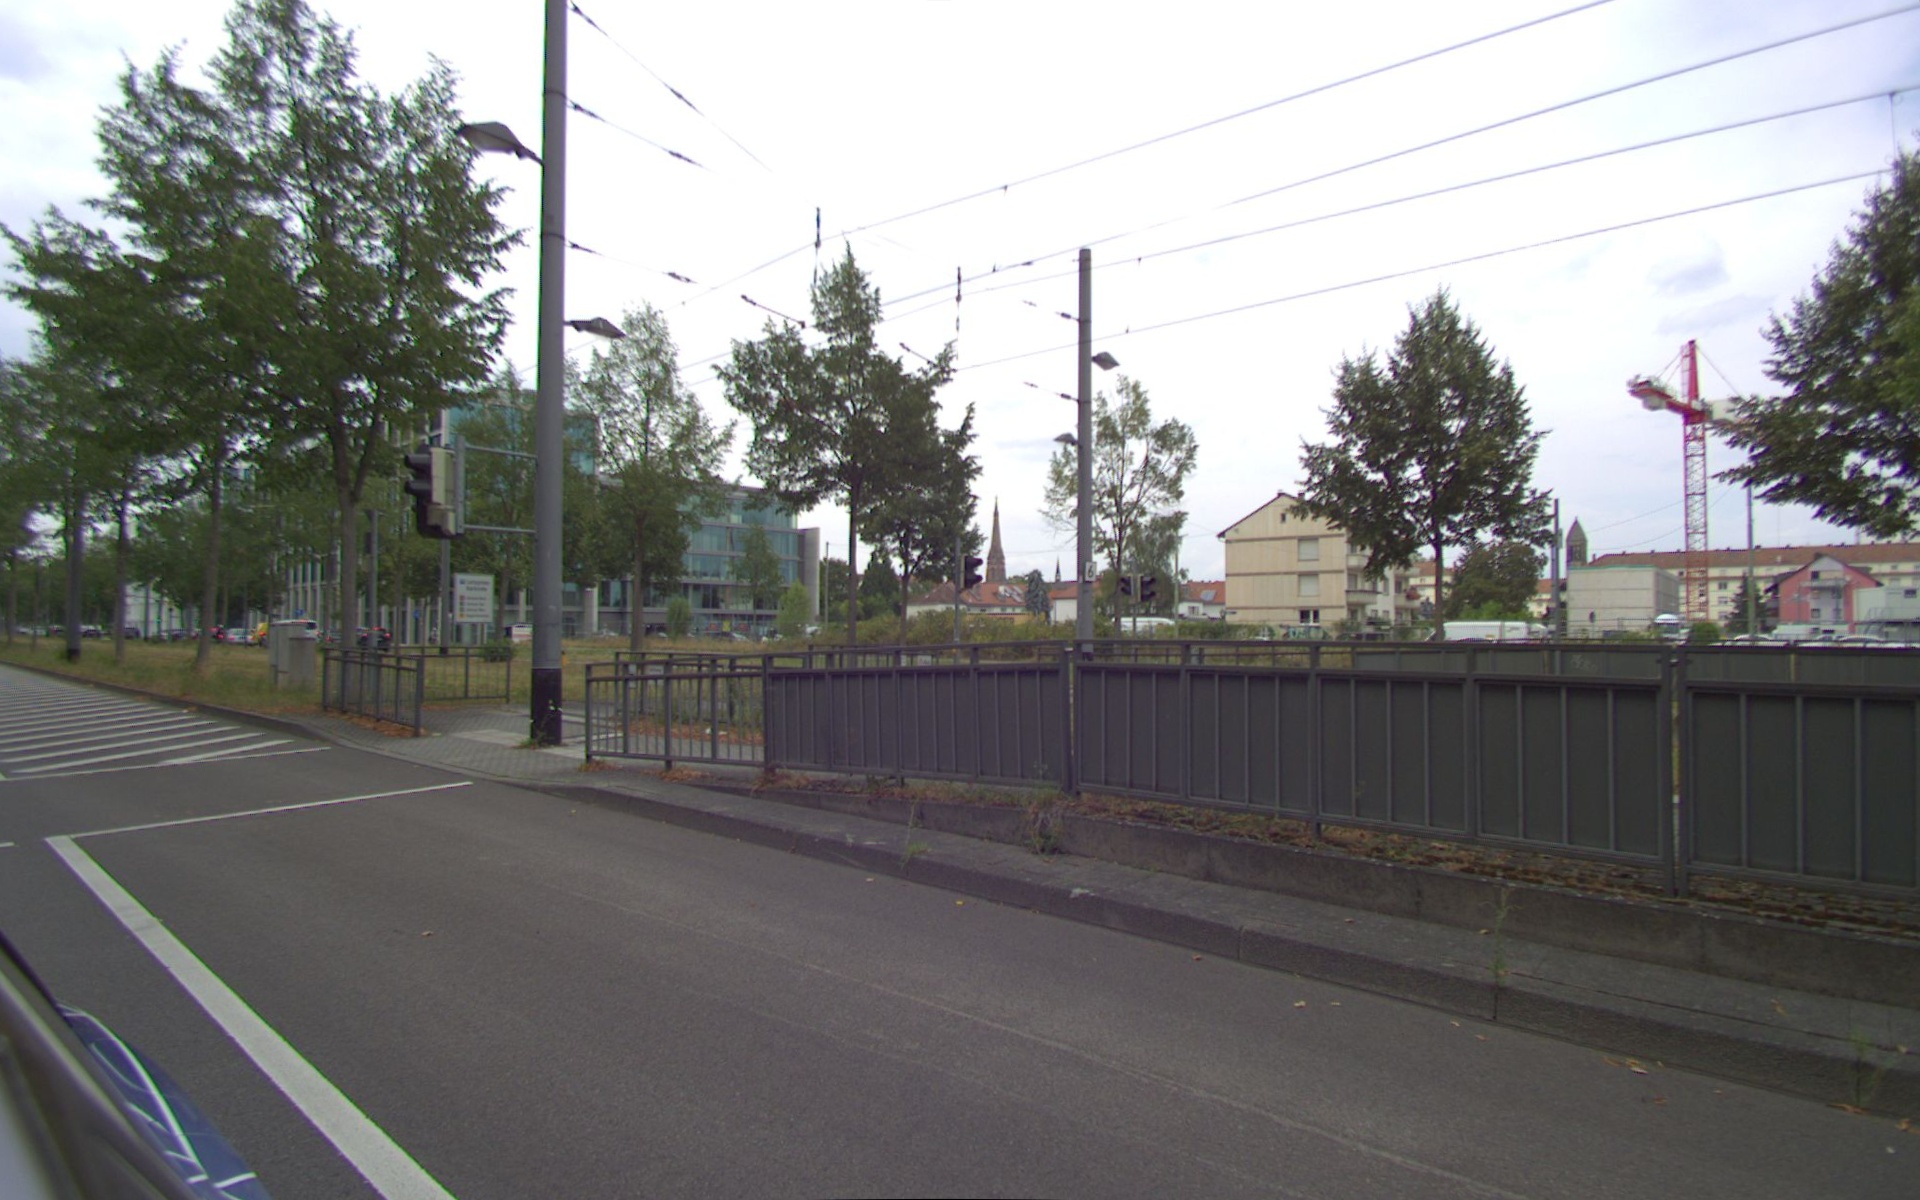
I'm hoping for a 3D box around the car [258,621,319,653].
[{"bbox_3d":[-42.825,2.351,64.499,5.094,1.959,1.972,-1,-2,42],"label":"car"}]

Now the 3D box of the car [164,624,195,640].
[{"bbox_3d":[-73.784,3.053,95.634,3.865,1.468,1.729,-1,-2,43],"label":"car"}]

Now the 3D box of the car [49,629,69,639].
[{"bbox_3d":[-127.968,4.804,143.702,3.865,1.468,1.729,-1,-2,43],"label":"car"}]

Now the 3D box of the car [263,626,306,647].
[{"bbox_3d":[-50.004,2.719,74.870,3.864,1.508,1.730,-2,-2,42],"label":"car"}]

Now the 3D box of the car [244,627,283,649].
[{"bbox_3d":[-58.103,3.181,84.427,1.929,1.785,4.447,1,-2,-44],"label":"car"}]

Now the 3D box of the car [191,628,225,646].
[{"bbox_3d":[-63.249,3.114,85.119,3.866,1.468,1.729,-1,-2,44],"label":"car"}]

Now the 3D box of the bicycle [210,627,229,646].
[{"bbox_3d":[-60.040,2.992,82.002,2.356,1.499,0.702,-2,-1,41],"label":"bicycle"}]

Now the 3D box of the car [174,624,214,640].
[{"bbox_3d":[-67.525,2.817,89.209,3.998,1.429,1.973,-1,-2,41],"label":"car"}]

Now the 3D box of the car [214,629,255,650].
[{"bbox_3d":[-54.550,2.962,76.060,3.864,1.508,1.730,-2,-2,42],"label":"car"}]

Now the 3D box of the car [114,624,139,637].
[{"bbox_3d":[-95.502,3.451,115.896,3.865,1.468,1.729,-1,-2,43],"label":"car"}]

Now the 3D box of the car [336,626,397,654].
[{"bbox_3d":[-37.422,2.499,63.763,4.688,1.669,1.809,-1,-2,40],"label":"car"}]
